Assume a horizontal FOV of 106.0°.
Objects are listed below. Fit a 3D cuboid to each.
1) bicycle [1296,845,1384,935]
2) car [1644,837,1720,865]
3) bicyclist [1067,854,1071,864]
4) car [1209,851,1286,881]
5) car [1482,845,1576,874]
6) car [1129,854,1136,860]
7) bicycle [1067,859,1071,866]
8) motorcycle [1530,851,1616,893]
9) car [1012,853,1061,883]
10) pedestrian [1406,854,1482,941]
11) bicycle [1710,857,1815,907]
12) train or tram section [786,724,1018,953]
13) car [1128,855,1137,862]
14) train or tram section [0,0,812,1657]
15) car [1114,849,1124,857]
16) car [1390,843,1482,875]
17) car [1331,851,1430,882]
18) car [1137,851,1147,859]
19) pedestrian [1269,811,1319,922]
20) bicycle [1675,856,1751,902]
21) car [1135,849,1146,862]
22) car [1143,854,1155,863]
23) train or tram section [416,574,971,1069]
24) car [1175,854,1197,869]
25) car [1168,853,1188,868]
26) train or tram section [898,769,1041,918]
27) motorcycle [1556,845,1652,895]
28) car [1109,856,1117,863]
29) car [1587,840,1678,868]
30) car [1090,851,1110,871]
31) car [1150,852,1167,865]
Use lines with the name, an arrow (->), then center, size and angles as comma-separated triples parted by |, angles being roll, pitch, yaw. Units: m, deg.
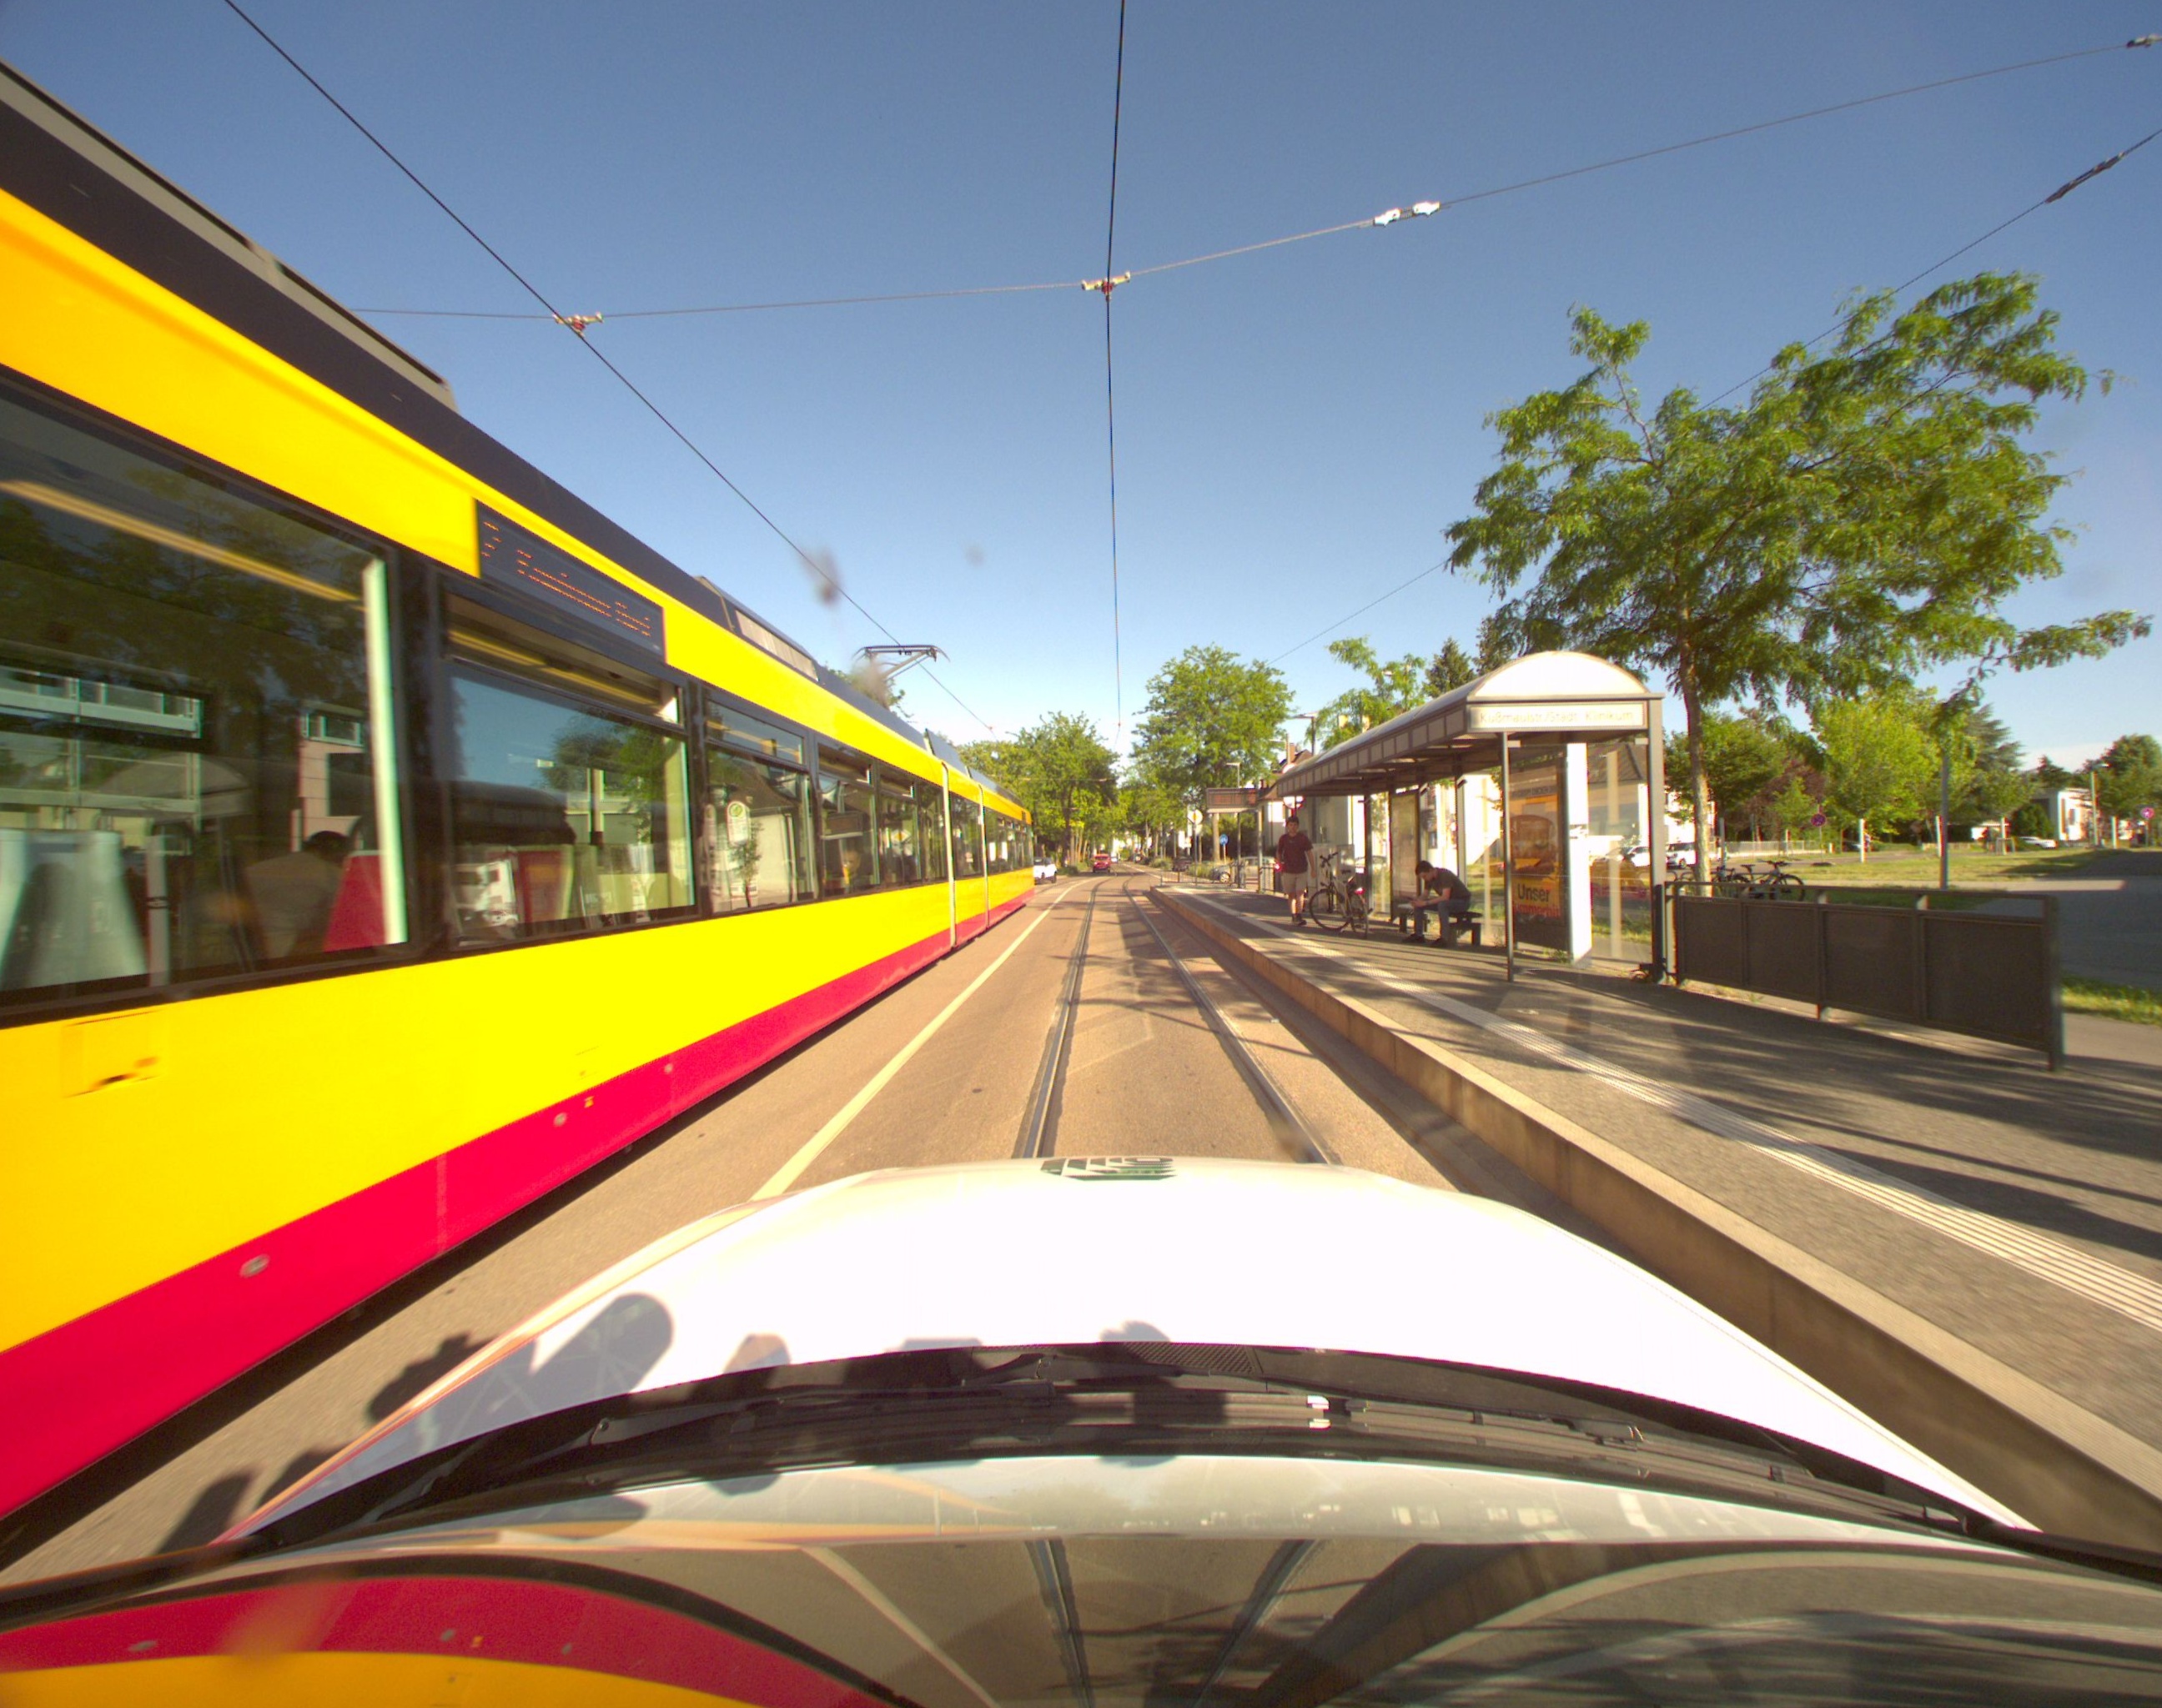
bicycle -> 3.817, 0.502, 12.163 | 0.618, 1.229, 1.965 | 0, 0, -2
car -> 35.092, -0.186, 47.516 | 4.008, 1.574, 1.983 | 0, 0, -27
bicyclist -> -1.915, 0.787, 128.803 | 0.591, 1.527, 1.062 | -1, 0, 2
car -> 9.003, 0.643, 44.152 | 3.961, 1.508, 1.988 | -1, 0, 11
car -> 24.604, 0.307, 44.808 | 4.154, 1.508, 1.979 | -1, 0, -4
car -> 14.479, 0.863, 228.947 | 1.993, 1.675, 4.399 | -3, 0, 5
bicycle -> -1.909, 1.319, 128.713 | 0.587, 0.960, 2.133 | -1, 0, 2
motorcycle -> 14.267, 0.515, 23.653 | 1.995, 1.158, 0.860 | -1, 0, -6
car -> -2.556, 0.779, 48.075 | 1.752, 1.663, 4.225 | -2, 0, 13
pedestrian -> 4.802, 0.565, 10.809 | 0.735, 1.117, 0.658 | 0, 0, 1
bicycle -> 14.347, 0.579, 17.165 | 1.894, 0.979, 0.490 | -1, 0, -6
train or tram section -> -2.996, -0.237, 15.784 | 2.793, 3.459, 6.670 | -1, 0, 2
car -> 13.364, 1.219, 211.451 | 1.996, 1.675, 4.393 | -3, 0, 1
train or tram section -> -3.398, -0.223, 2.371 | 2.793, 3.459, 6.670 | -1, 0, 2
car -> 11.897, -0.200, 257.426 | 1.995, 2.458, 4.491 | -2, 0, -11
car -> 19.271, 0.292, 44.330 | 4.149, 1.642, 1.981 | -1, 0, -1
car -> 15.451, 0.650, 42.294 | 4.571, 1.466, 1.989 | -2, -2, 13
car -> 11.836, 0.201, 157.904 | 1.621, 1.397, 3.646 | -4, 0, 1
pedestrian -> 3.659, 0.203, 14.027 | 0.708, 1.853, 0.729 | 0, 0, 3
bicycle -> 14.466, 0.564, 18.649 | 1.468, 0.979, 0.415 | -1, 0, -6
car -> 13.108, 0.345, 179.250 | 2.237, 2.654, 5.586 | -1, 0, 1
car -> 12.375, 0.814, 148.216 | 1.778, 1.448, 4.300 | -4, 0, 0
train or tram section -> -3.197, -0.230, 9.087 | 2.793, 3.459, 6.670 | -1, 0, 2
car -> 10.649, 0.734, 83.166 | 1.742, 1.495, 4.444 | -2, 0, 1
car -> 10.587, 0.728, 88.962 | 1.742, 1.495, 3.997 | -2, 0, 1
train or tram section -> -2.783, -0.257, 22.484 | 2.793, 3.459, 6.670 | -1, 0, 2
motorcycle -> 14.197, 0.432, 22.134 | 2.074, 1.274, 0.860 | -1, 0, -6
car -> 7.983, 1.392, 202.478 | 1.859, 1.675, 4.173 | -2, 0, 1
car -> 30.824, -0.015, 45.545 | 4.171, 1.508, 1.971 | -1, 0, -16
car -> 2.000, 0.744, 87.444 | 1.988, 1.966, 4.931 | -1, 0, -1
car -> 11.588, 0.636, 121.669 | 1.987, 1.704, 4.477 | -4, 0, 1
